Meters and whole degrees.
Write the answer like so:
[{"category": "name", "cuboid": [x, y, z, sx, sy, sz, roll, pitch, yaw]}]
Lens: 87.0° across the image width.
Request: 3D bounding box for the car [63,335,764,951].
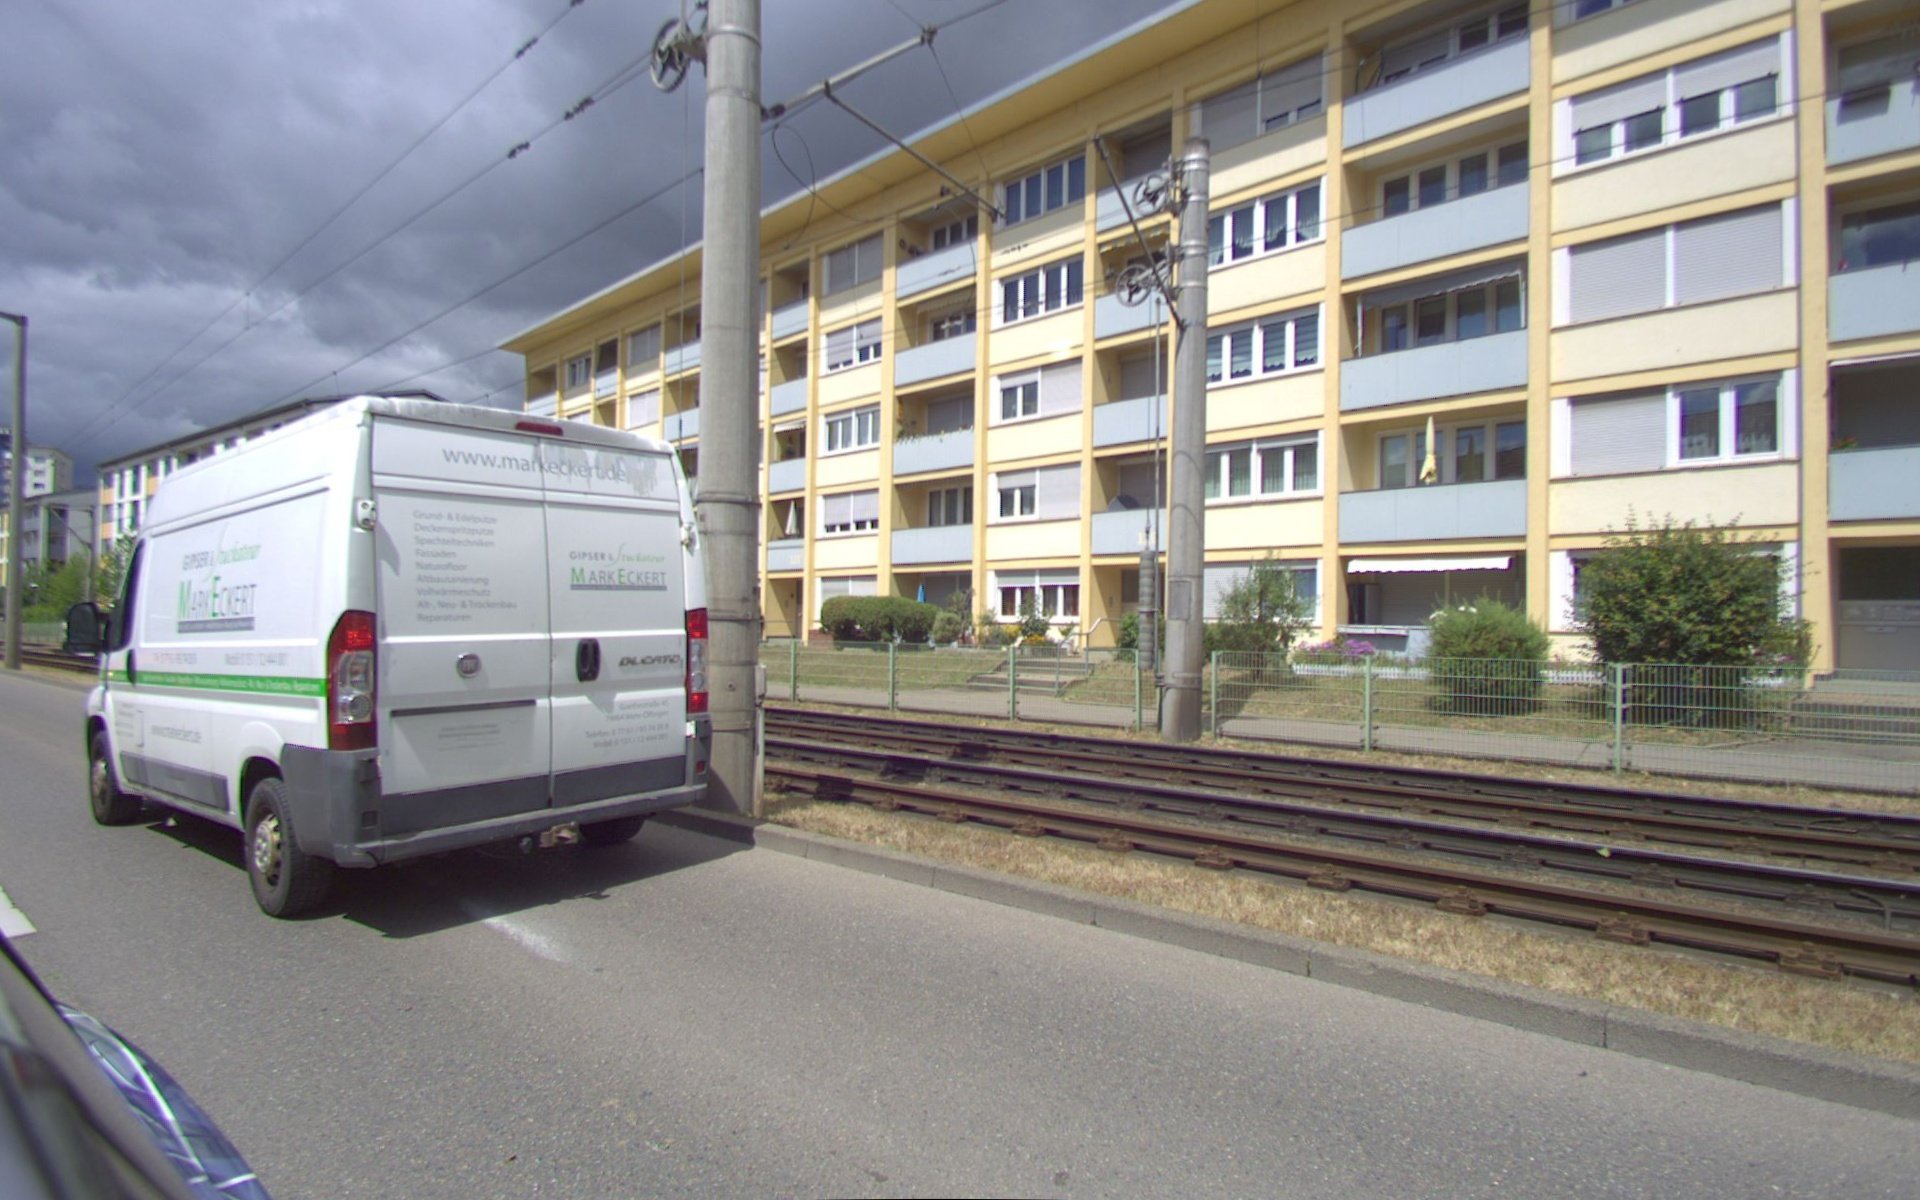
[{"category": "car", "cuboid": [-3.804, 0.219, 6.582, 5.082, 2.493, 2.209, -1, -3, 40]}]
